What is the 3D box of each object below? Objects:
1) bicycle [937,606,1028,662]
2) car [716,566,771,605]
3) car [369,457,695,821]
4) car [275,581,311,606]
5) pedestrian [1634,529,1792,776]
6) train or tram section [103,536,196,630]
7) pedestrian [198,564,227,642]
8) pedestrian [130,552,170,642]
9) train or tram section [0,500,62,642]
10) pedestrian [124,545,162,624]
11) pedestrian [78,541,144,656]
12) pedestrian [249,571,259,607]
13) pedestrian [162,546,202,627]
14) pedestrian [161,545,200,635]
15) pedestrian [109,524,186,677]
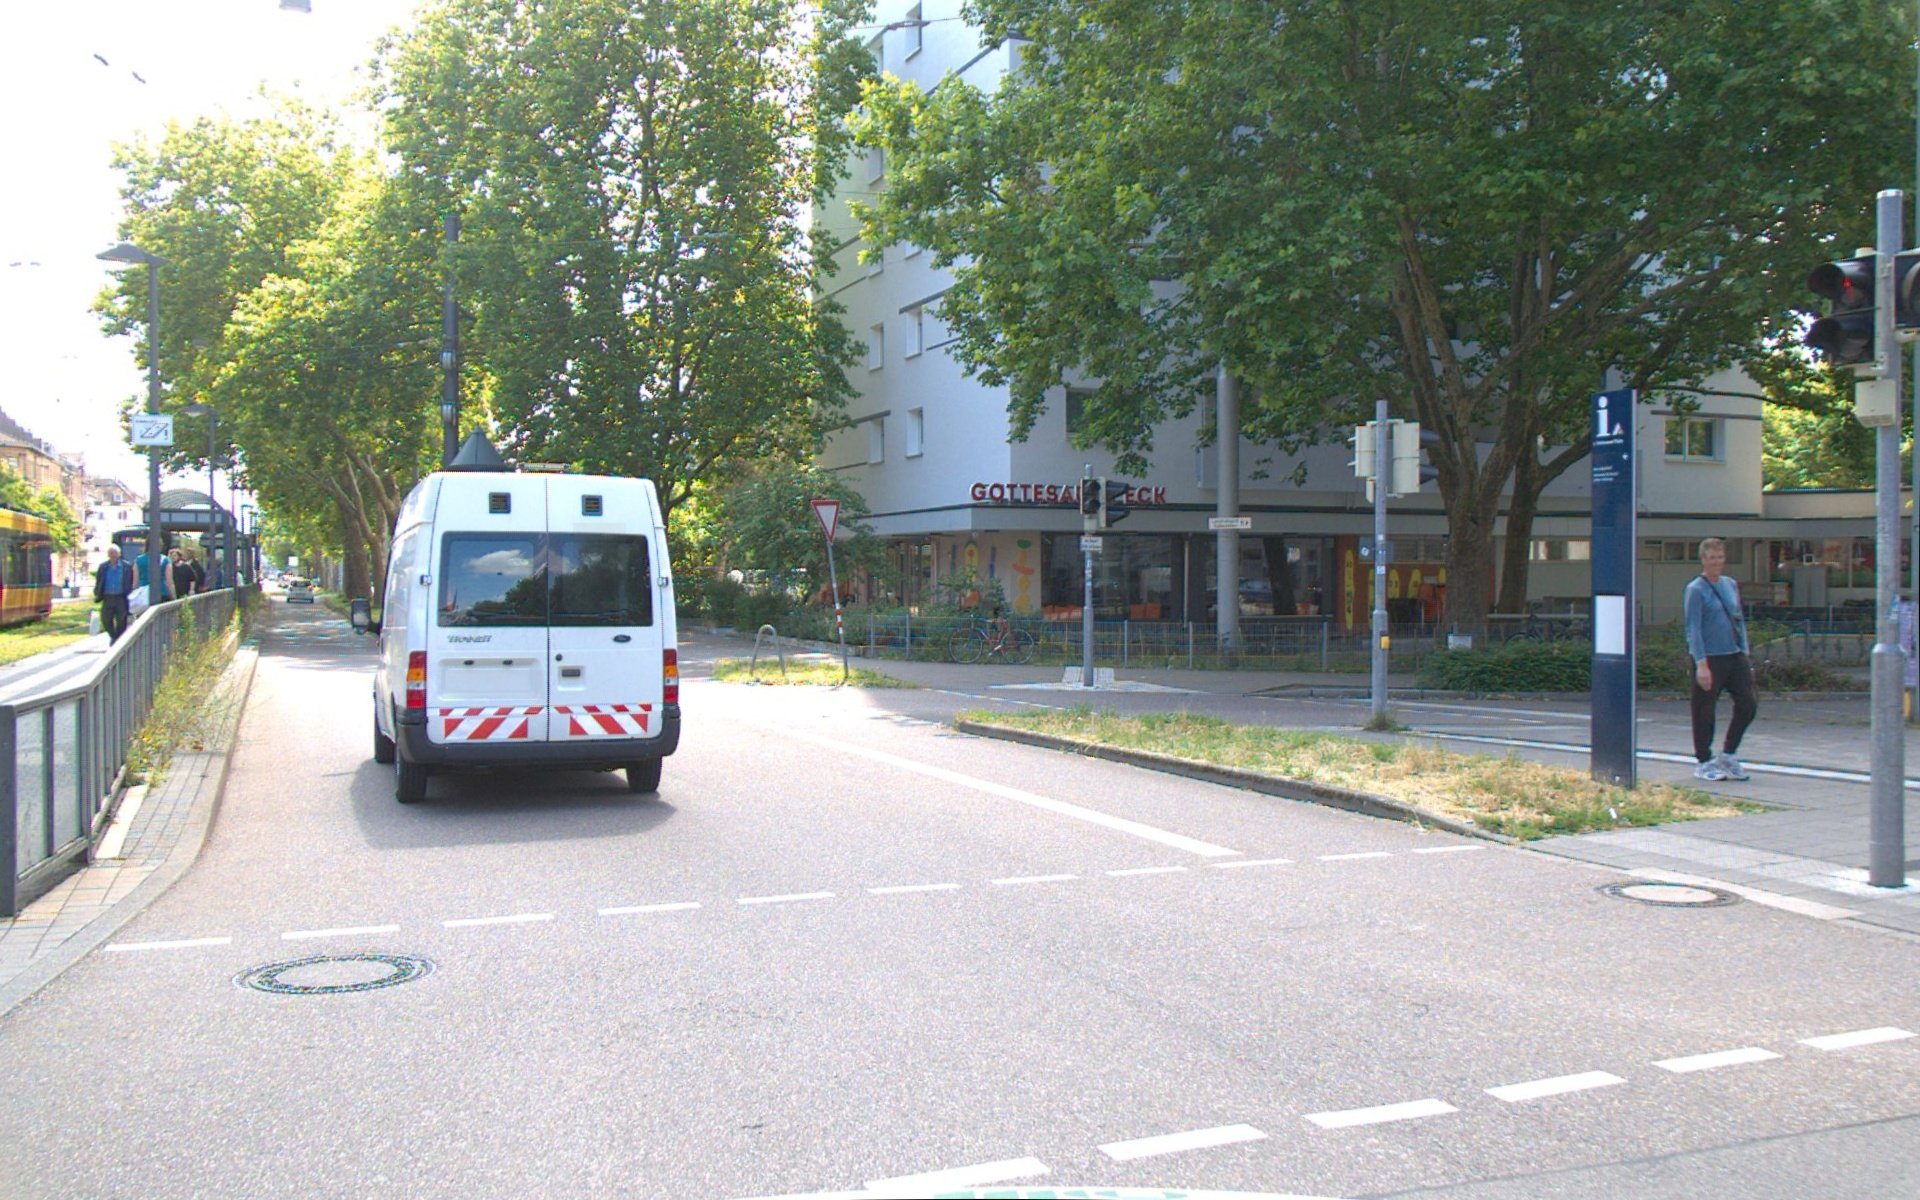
[{"bbox_3d":[0.429,0.647,31.368,1.686,1.027,0.534,0,1,4],"label":"bicycle"},{"bbox_3d":[-10.807,-0.738,82.326,1.781,1.846,4.312,-1,1,-21],"label":"car"},{"bbox_3d":[-3.635,0.216,13.357,2.018,2.373,4.684,0,1,-21],"label":"car"},{"bbox_3d":[-42.433,-0.441,105.133,1.794,1.518,3.965,-1,1,-27],"label":"car"},{"bbox_3d":[5.747,0.373,12.648,0.682,1.814,0.882,-1,1,-20],"label":"pedestrian"},{"bbox_3d":[-34.546,-0.748,70.849,2.686,3.646,12.926,-1,1,-22],"label":"train or tram section"},{"bbox_3d":[-18.703,0.075,41.403,0.528,1.933,0.469,0,1,43],"label":"pedestrian"},{"bbox_3d":[-17.192,-0.067,35.102,0.692,1.881,0.901,-1,0,-24],"label":"pedestrian"},{"bbox_3d":[-28.208,-0.806,47.645,2.686,3.646,12.926,-1,1,-22],"label":"train or tram section"},{"bbox_3d":[-19.247,-0.380,38.990,0.702,1.832,1.124,-1,1,-23],"label":"pedestrian"},{"bbox_3d":[-13.602,-0.026,26.520,0.846,1.806,0.870,-1,0,-23],"label":"pedestrian"},{"bbox_3d":[-32.227,-0.494,75.477,0.380,1.619,0.435,-1,1,-24],"label":"pedestrian"},{"bbox_3d":[-18.592,-0.323,39.535,0.800,1.905,1.023,-1,1,-23],"label":"pedestrian"},{"bbox_3d":[-16.629,-0.222,35.291,0.692,1.881,0.783,-1,0,-24],"label":"pedestrian"},{"bbox_3d":[-10.480,0.000,21.359,0.815,1.932,0.840,-1,0,-23],"label":"pedestrian"}]
